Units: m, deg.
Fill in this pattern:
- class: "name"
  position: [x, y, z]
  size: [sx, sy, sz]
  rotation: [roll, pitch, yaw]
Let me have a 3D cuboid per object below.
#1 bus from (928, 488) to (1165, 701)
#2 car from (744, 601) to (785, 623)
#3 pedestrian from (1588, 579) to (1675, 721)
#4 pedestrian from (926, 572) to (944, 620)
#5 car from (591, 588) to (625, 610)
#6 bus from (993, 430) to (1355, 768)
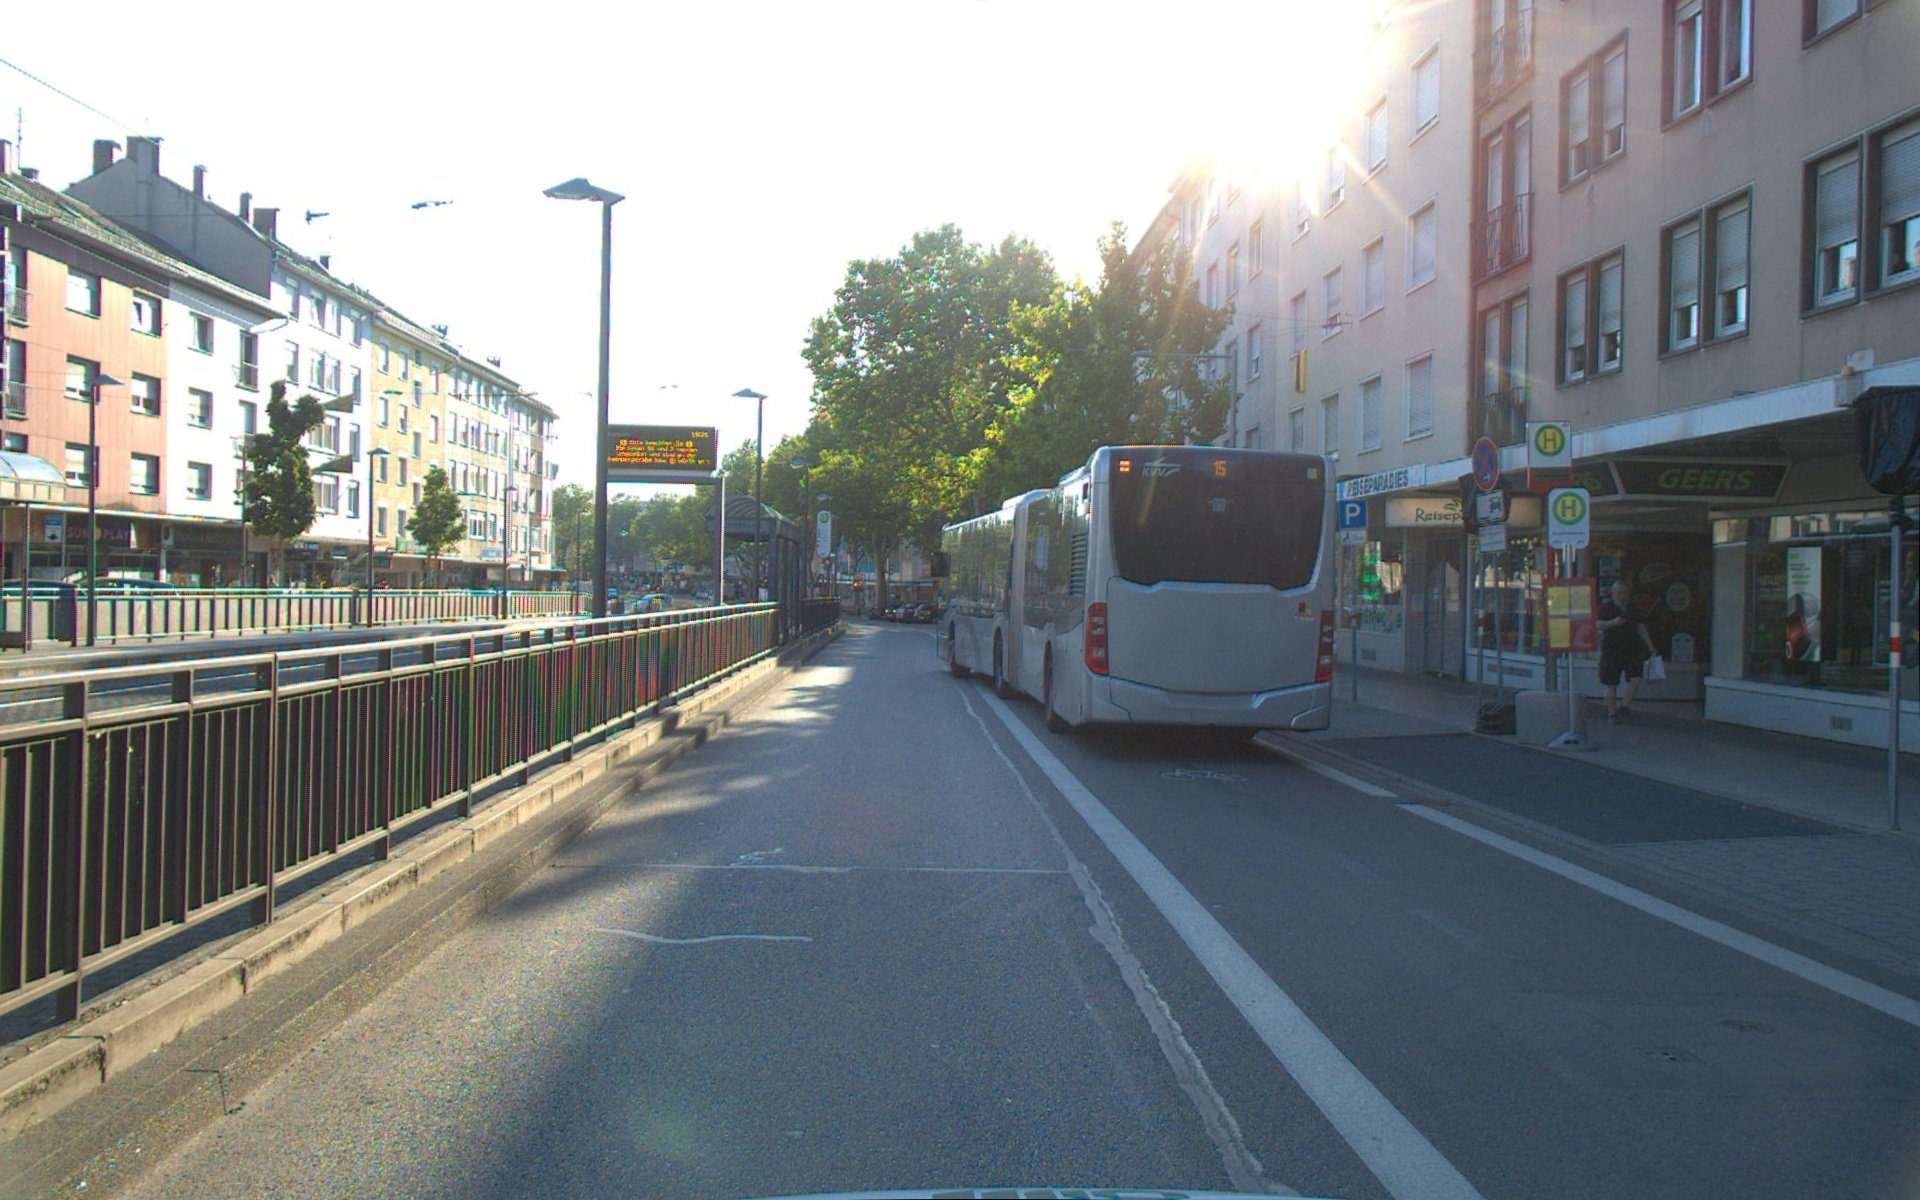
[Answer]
- class: "bus"
  position: [1.238, -0.109, 29.516]
  size: [2.645, 3.172, 9.056]
  rotation: [1, 0, -7]
- class: "car"
  position: [-19.332, 1.170, 163.335]
  size: [3.914, 2.049, 1.958]
  rotation: [1, 0, -10]
- class: "pedestrian"
  position: [8.035, 0.585, 19.810]
  size: [0.709, 1.661, 0.766]
  rotation: [0, 0, -2]
- class: "pedestrian"
  position: [-1.384, -0.231, 90.719]
  size: [0.871, 2.591, 1.164]
  rotation: [0, 0, 5]
- class: "car"
  position: [-28.241, -0.082, 132.763]
  size: [1.953, 1.680, 3.998]
  rotation: [0, 0, -2]
- class: "bus"
  position: [2.147, -0.035, 20.480]
  size: [2.643, 3.172, 9.374]
  rotation: [1, 0, -4]
